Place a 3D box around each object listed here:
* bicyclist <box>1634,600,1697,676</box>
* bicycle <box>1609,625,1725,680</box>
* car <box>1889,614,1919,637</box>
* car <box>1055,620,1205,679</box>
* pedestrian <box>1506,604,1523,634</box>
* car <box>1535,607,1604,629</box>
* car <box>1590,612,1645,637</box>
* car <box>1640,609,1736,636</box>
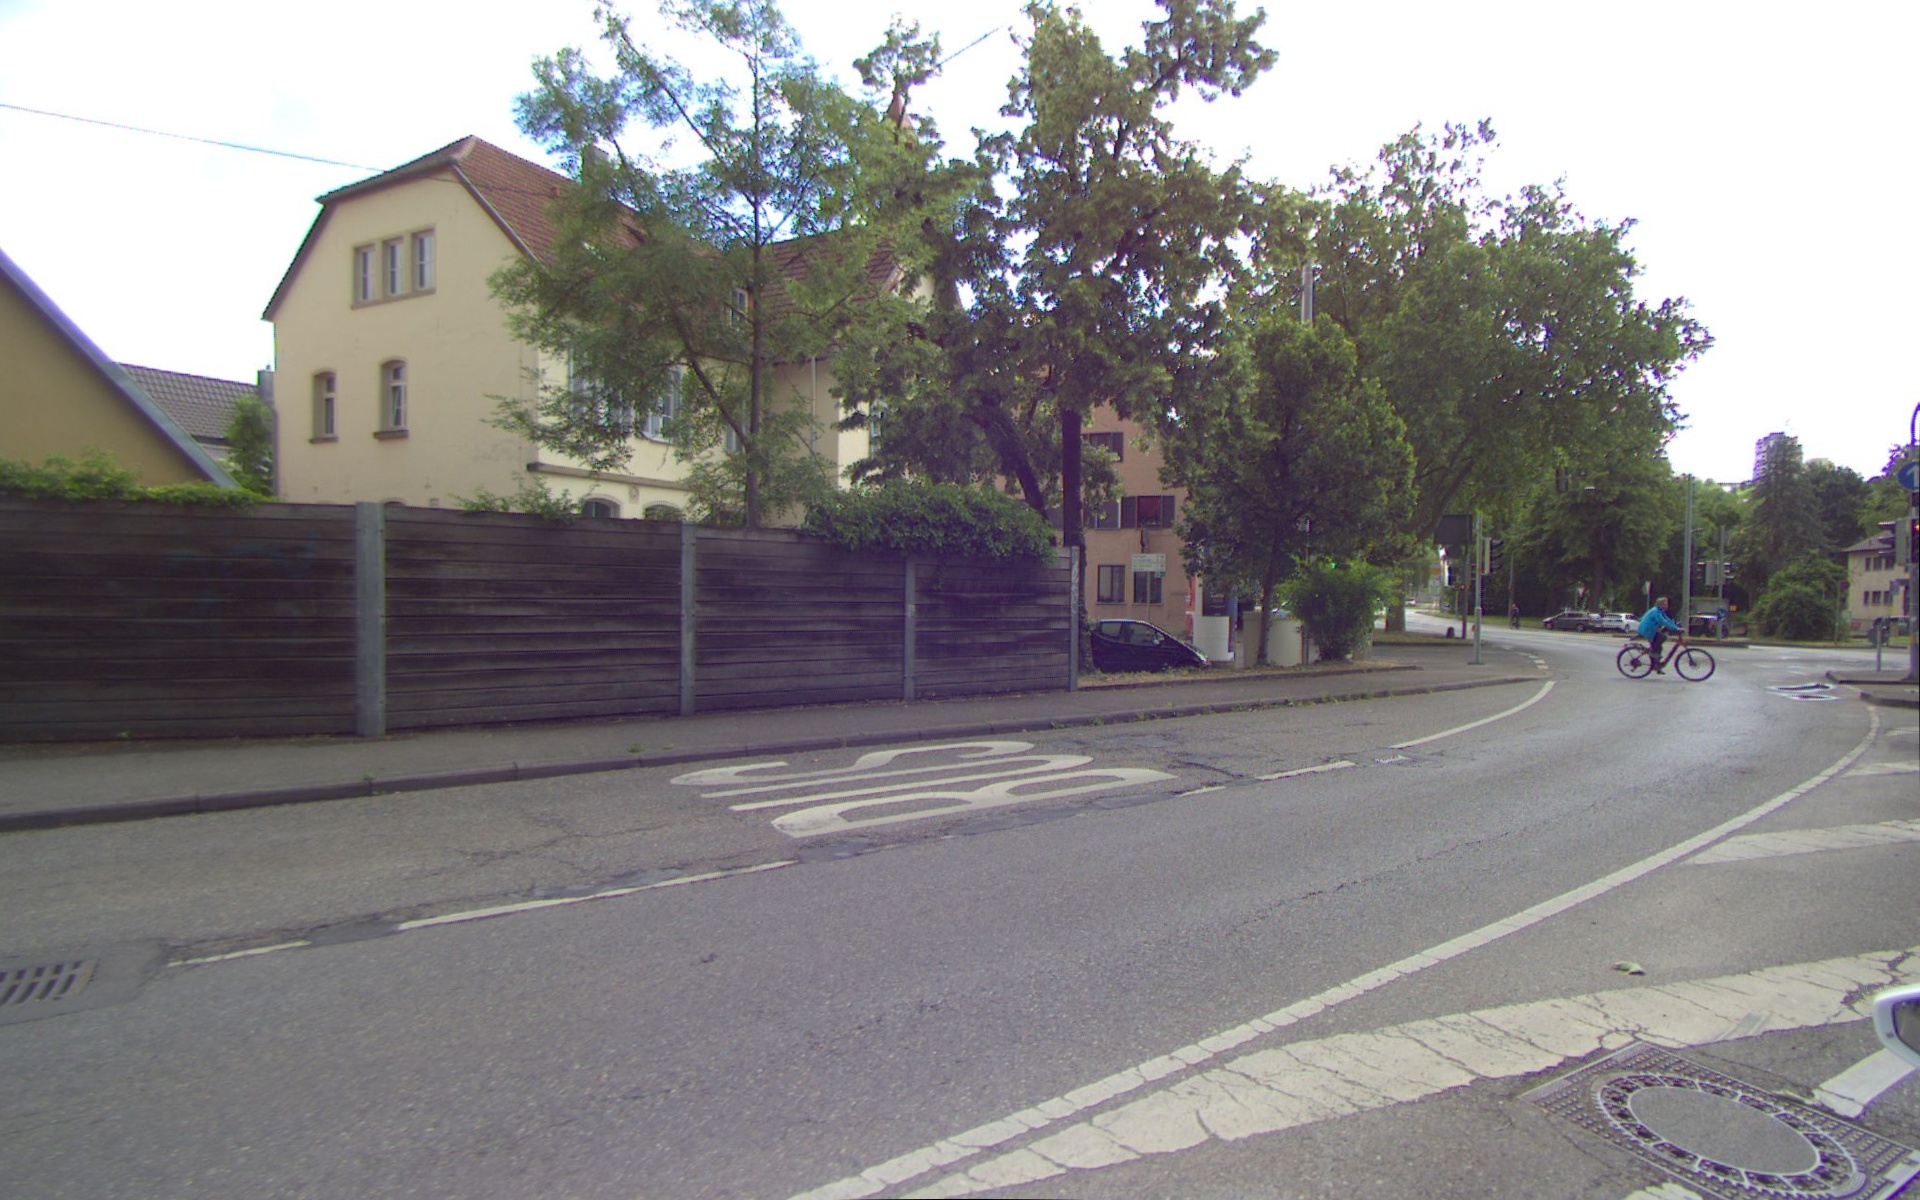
[{"bbox_3d":[15.681,0.818,22.338,1.084,1.621,0.938,1,0,36],"label":"bicyclist"},{"bbox_3d":[15.693,1.138,22.338,2.043,1.096,0.938,1,0,36],"label":"bicycle"},{"bbox_3d":[64.656,1.704,66.753,3.925,1.506,1.758,0,-1,26],"label":"car"},{"bbox_3d":[4.316,1.215,25.357,3.617,1.392,1.738,0,-1,13],"label":"car"},{"bbox_3d":[40.693,1.369,73.747,0.761,2.207,0.859,1,0,-7],"label":"pedestrian"},{"bbox_3d":[44.379,1.290,73.237,1.968,1.595,3.986,1,-1,-17],"label":"car"},{"bbox_3d":[48.142,1.803,73.521,3.957,1.795,1.982,1,-1,-33],"label":"car"},{"bbox_3d":[43.445,1.346,60.061,1.964,1.537,4.584,1,-1,-10],"label":"car"}]
